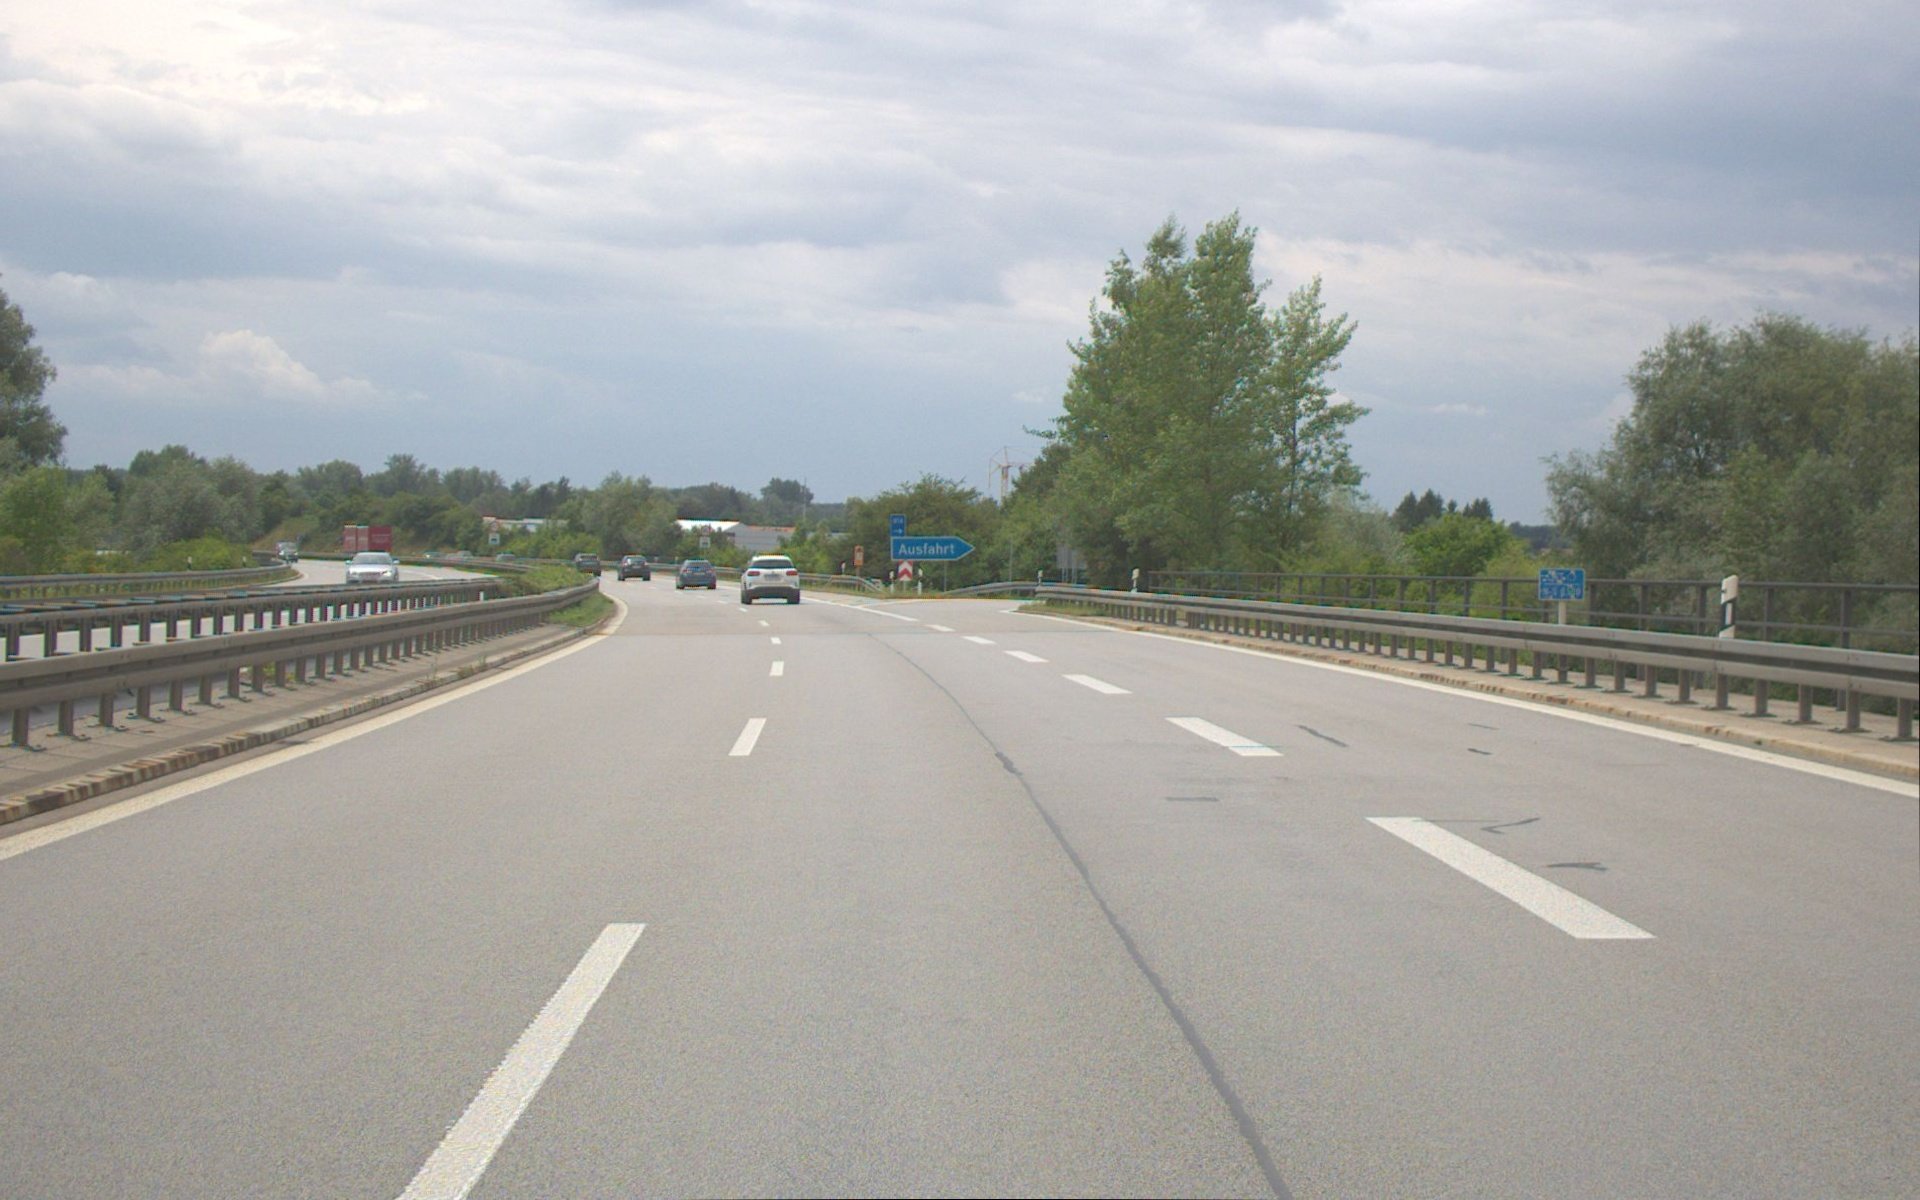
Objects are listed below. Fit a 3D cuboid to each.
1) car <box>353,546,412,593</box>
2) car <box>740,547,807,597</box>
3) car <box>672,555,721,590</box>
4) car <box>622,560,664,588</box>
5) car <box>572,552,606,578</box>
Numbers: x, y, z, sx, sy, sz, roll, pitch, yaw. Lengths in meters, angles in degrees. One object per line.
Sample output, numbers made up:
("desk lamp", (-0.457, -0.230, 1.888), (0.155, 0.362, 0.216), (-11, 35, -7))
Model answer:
("car", (-21.712, -1.160, 129.379), (1.642, 1.709, 4.981), (1, 1, -4))
("car", (-6.373, -0.975, 116.994), (1.902, 1.634, 4.397), (1, 1, -8))
("car", (-12.942, -1.344, 168.451), (1.892, 1.634, 4.623), (1, 1, -11))
("car", (-19.483, -1.590, 211.222), (1.902, 1.634, 4.781), (1, 1, -13))
("car", (-26.289, -2.508, 243.457), (1.826, 1.787, 4.415), (1, 1, -14))
